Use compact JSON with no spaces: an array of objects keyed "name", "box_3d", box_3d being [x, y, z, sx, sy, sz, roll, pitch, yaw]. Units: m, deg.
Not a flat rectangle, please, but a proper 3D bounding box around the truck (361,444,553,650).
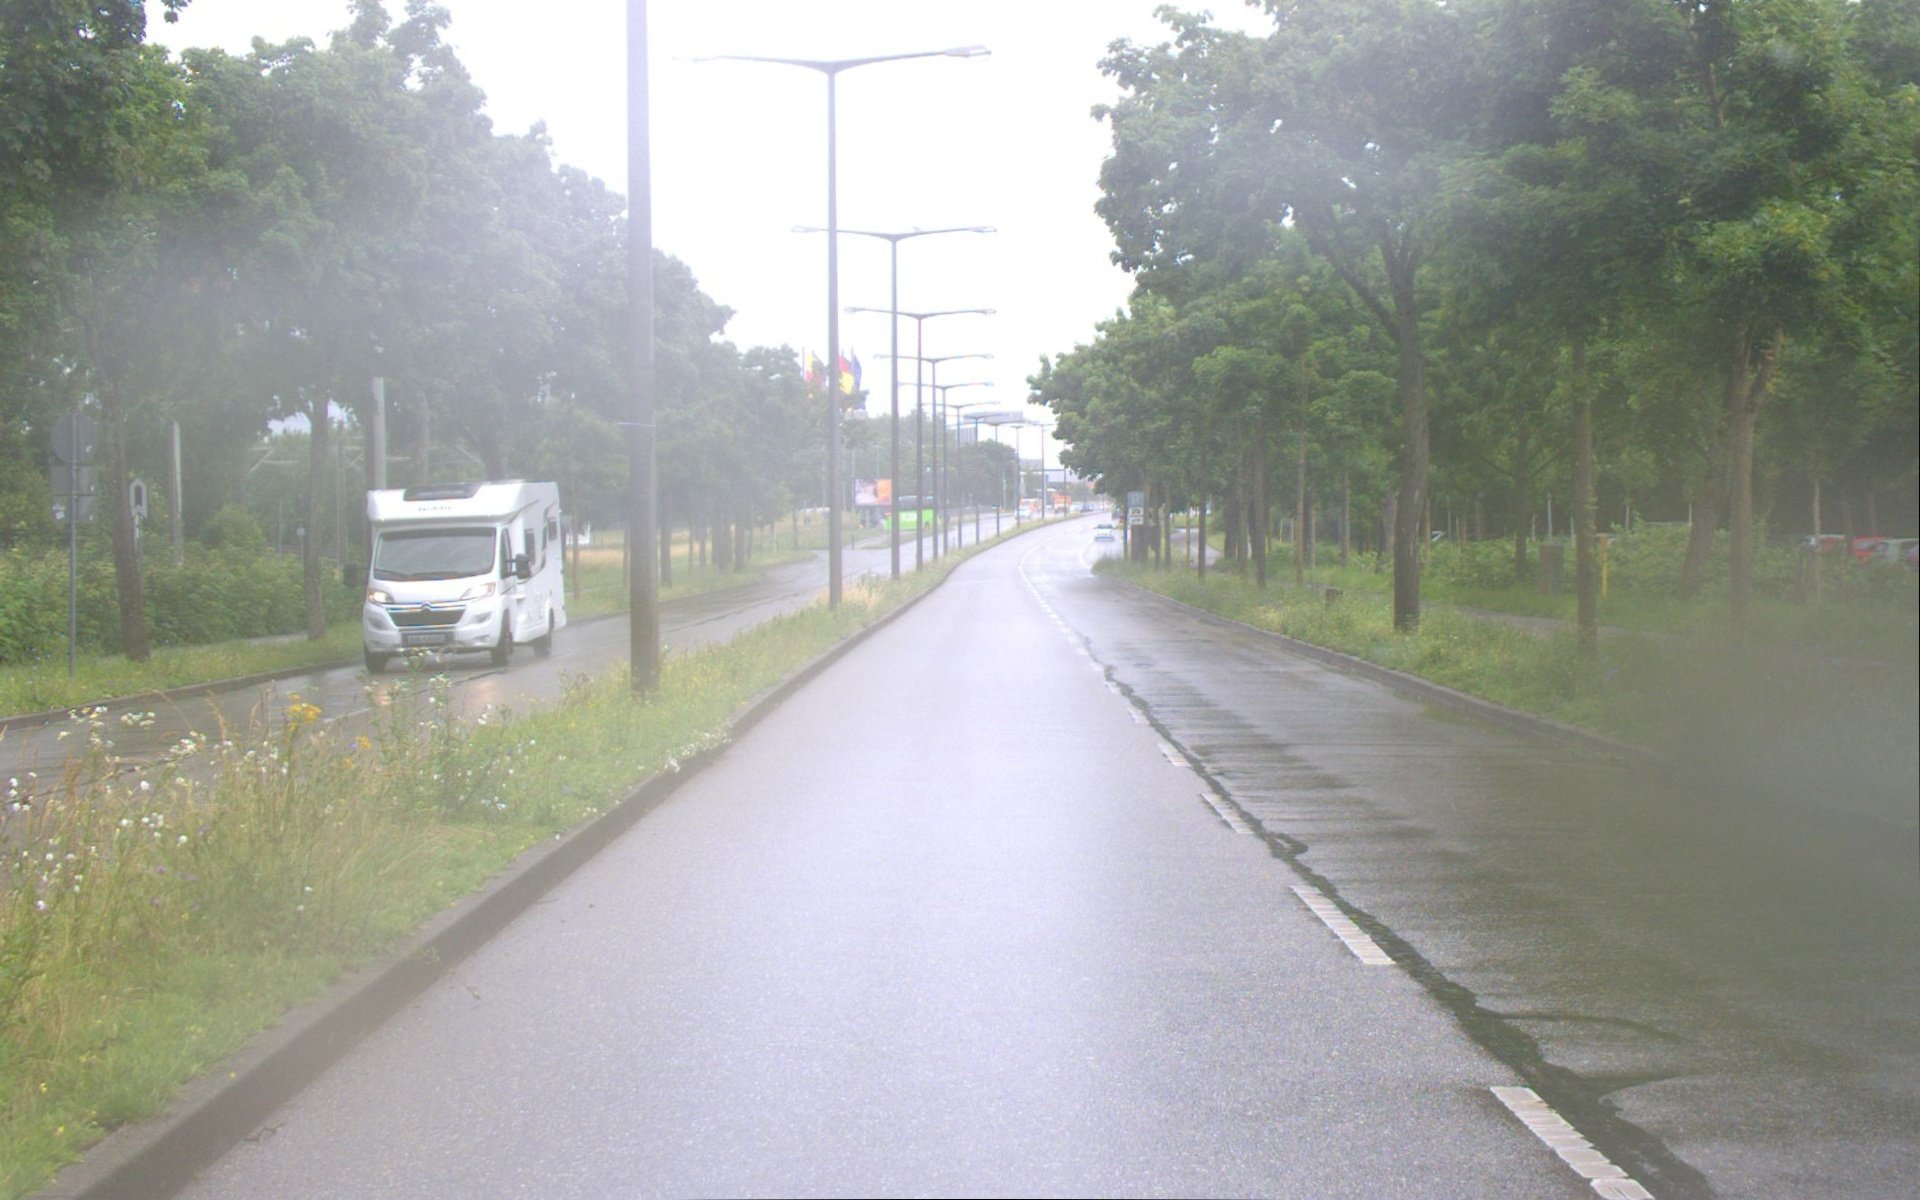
[{"name":"truck","box_3d":[-7.427,-0.761,51.277,2.138,2.834,5.074,-2,0,-1]}]
